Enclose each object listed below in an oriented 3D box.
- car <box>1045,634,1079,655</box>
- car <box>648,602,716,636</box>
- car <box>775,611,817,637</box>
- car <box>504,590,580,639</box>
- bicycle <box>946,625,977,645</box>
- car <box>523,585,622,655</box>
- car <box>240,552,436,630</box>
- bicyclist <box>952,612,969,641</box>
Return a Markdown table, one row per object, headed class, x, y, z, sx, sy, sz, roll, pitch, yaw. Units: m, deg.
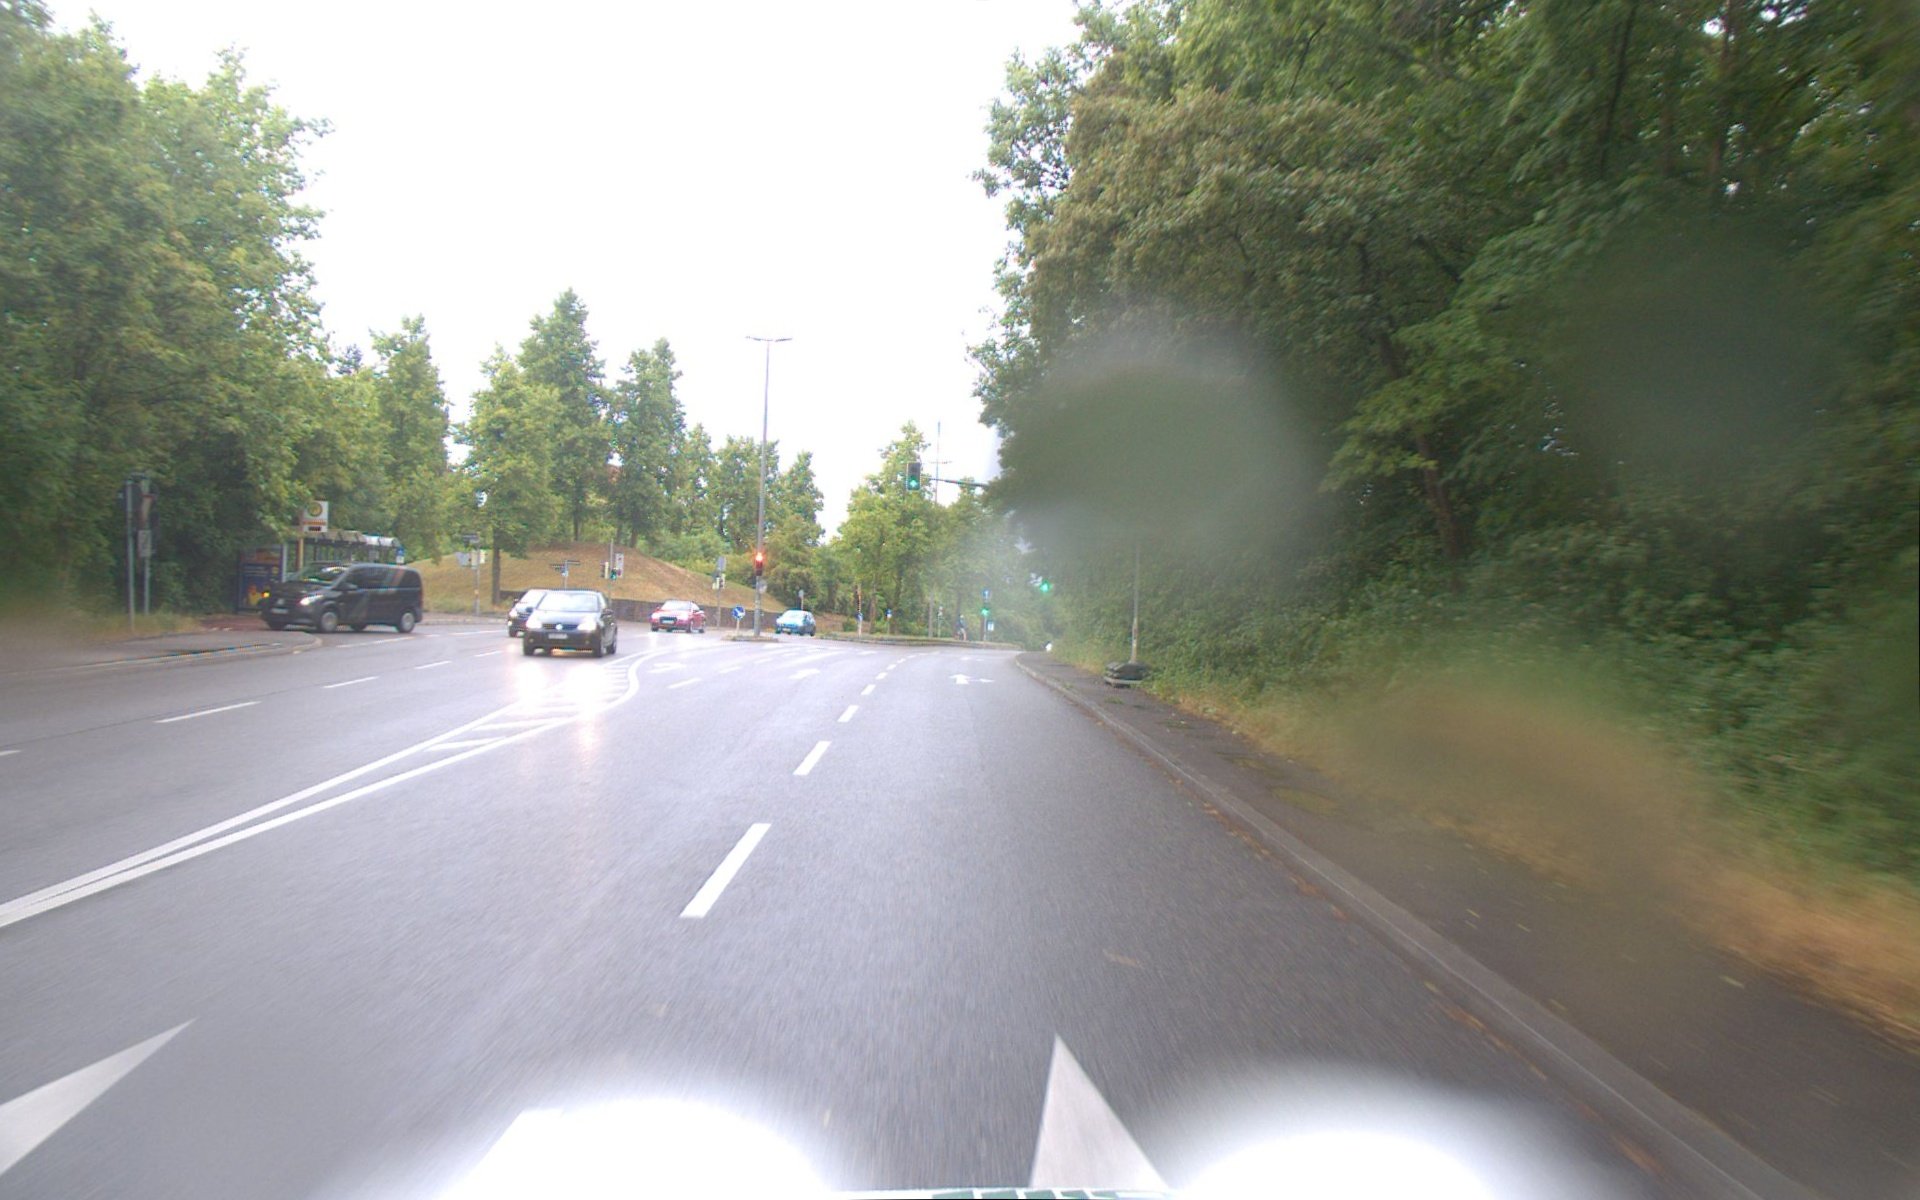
| class | x | y | z | sx | sy | sz | roll | pitch | yaw |
| --- | --- | --- | --- | --- | --- | --- | --- | --- | --- |
| car | 9.469 | 4.154 | 152.968 | 1.904 | 1.664 | 5.006 | 3 | -2 | 18 |
| car | -12.330 | 0.842 | 73.558 | 1.835 | 1.398 | 4.387 | 2 | 0 | 6 |
| car | -9.768 | 1.409 | 98.668 | 1.952 | 1.516 | 3.938 | 0 | -1 | 3 |
| car | -12.663 | 0.419 | 50.304 | 1.599 | 1.419 | 3.996 | 1 | 0 | -5 |
| bicycle | 0.122 | 2.264 | 106.211 | 2.122 | 1.163 | 0.545 | 5 | -3 | -43 |
| car | -8.812 | 0.417 | 37.889 | 1.668 | 1.452 | 4.073 | 2 | 0 | -6 |
| car | -16.937 | -0.206 | 45.371 | 2.059 | 1.980 | 5.159 | 1 | 0 | 22 |
| bicyclist | 0.044 | 1.709 | 106.213 | 0.795 | 1.783 | 0.714 | 6 | -6 | -43 |
